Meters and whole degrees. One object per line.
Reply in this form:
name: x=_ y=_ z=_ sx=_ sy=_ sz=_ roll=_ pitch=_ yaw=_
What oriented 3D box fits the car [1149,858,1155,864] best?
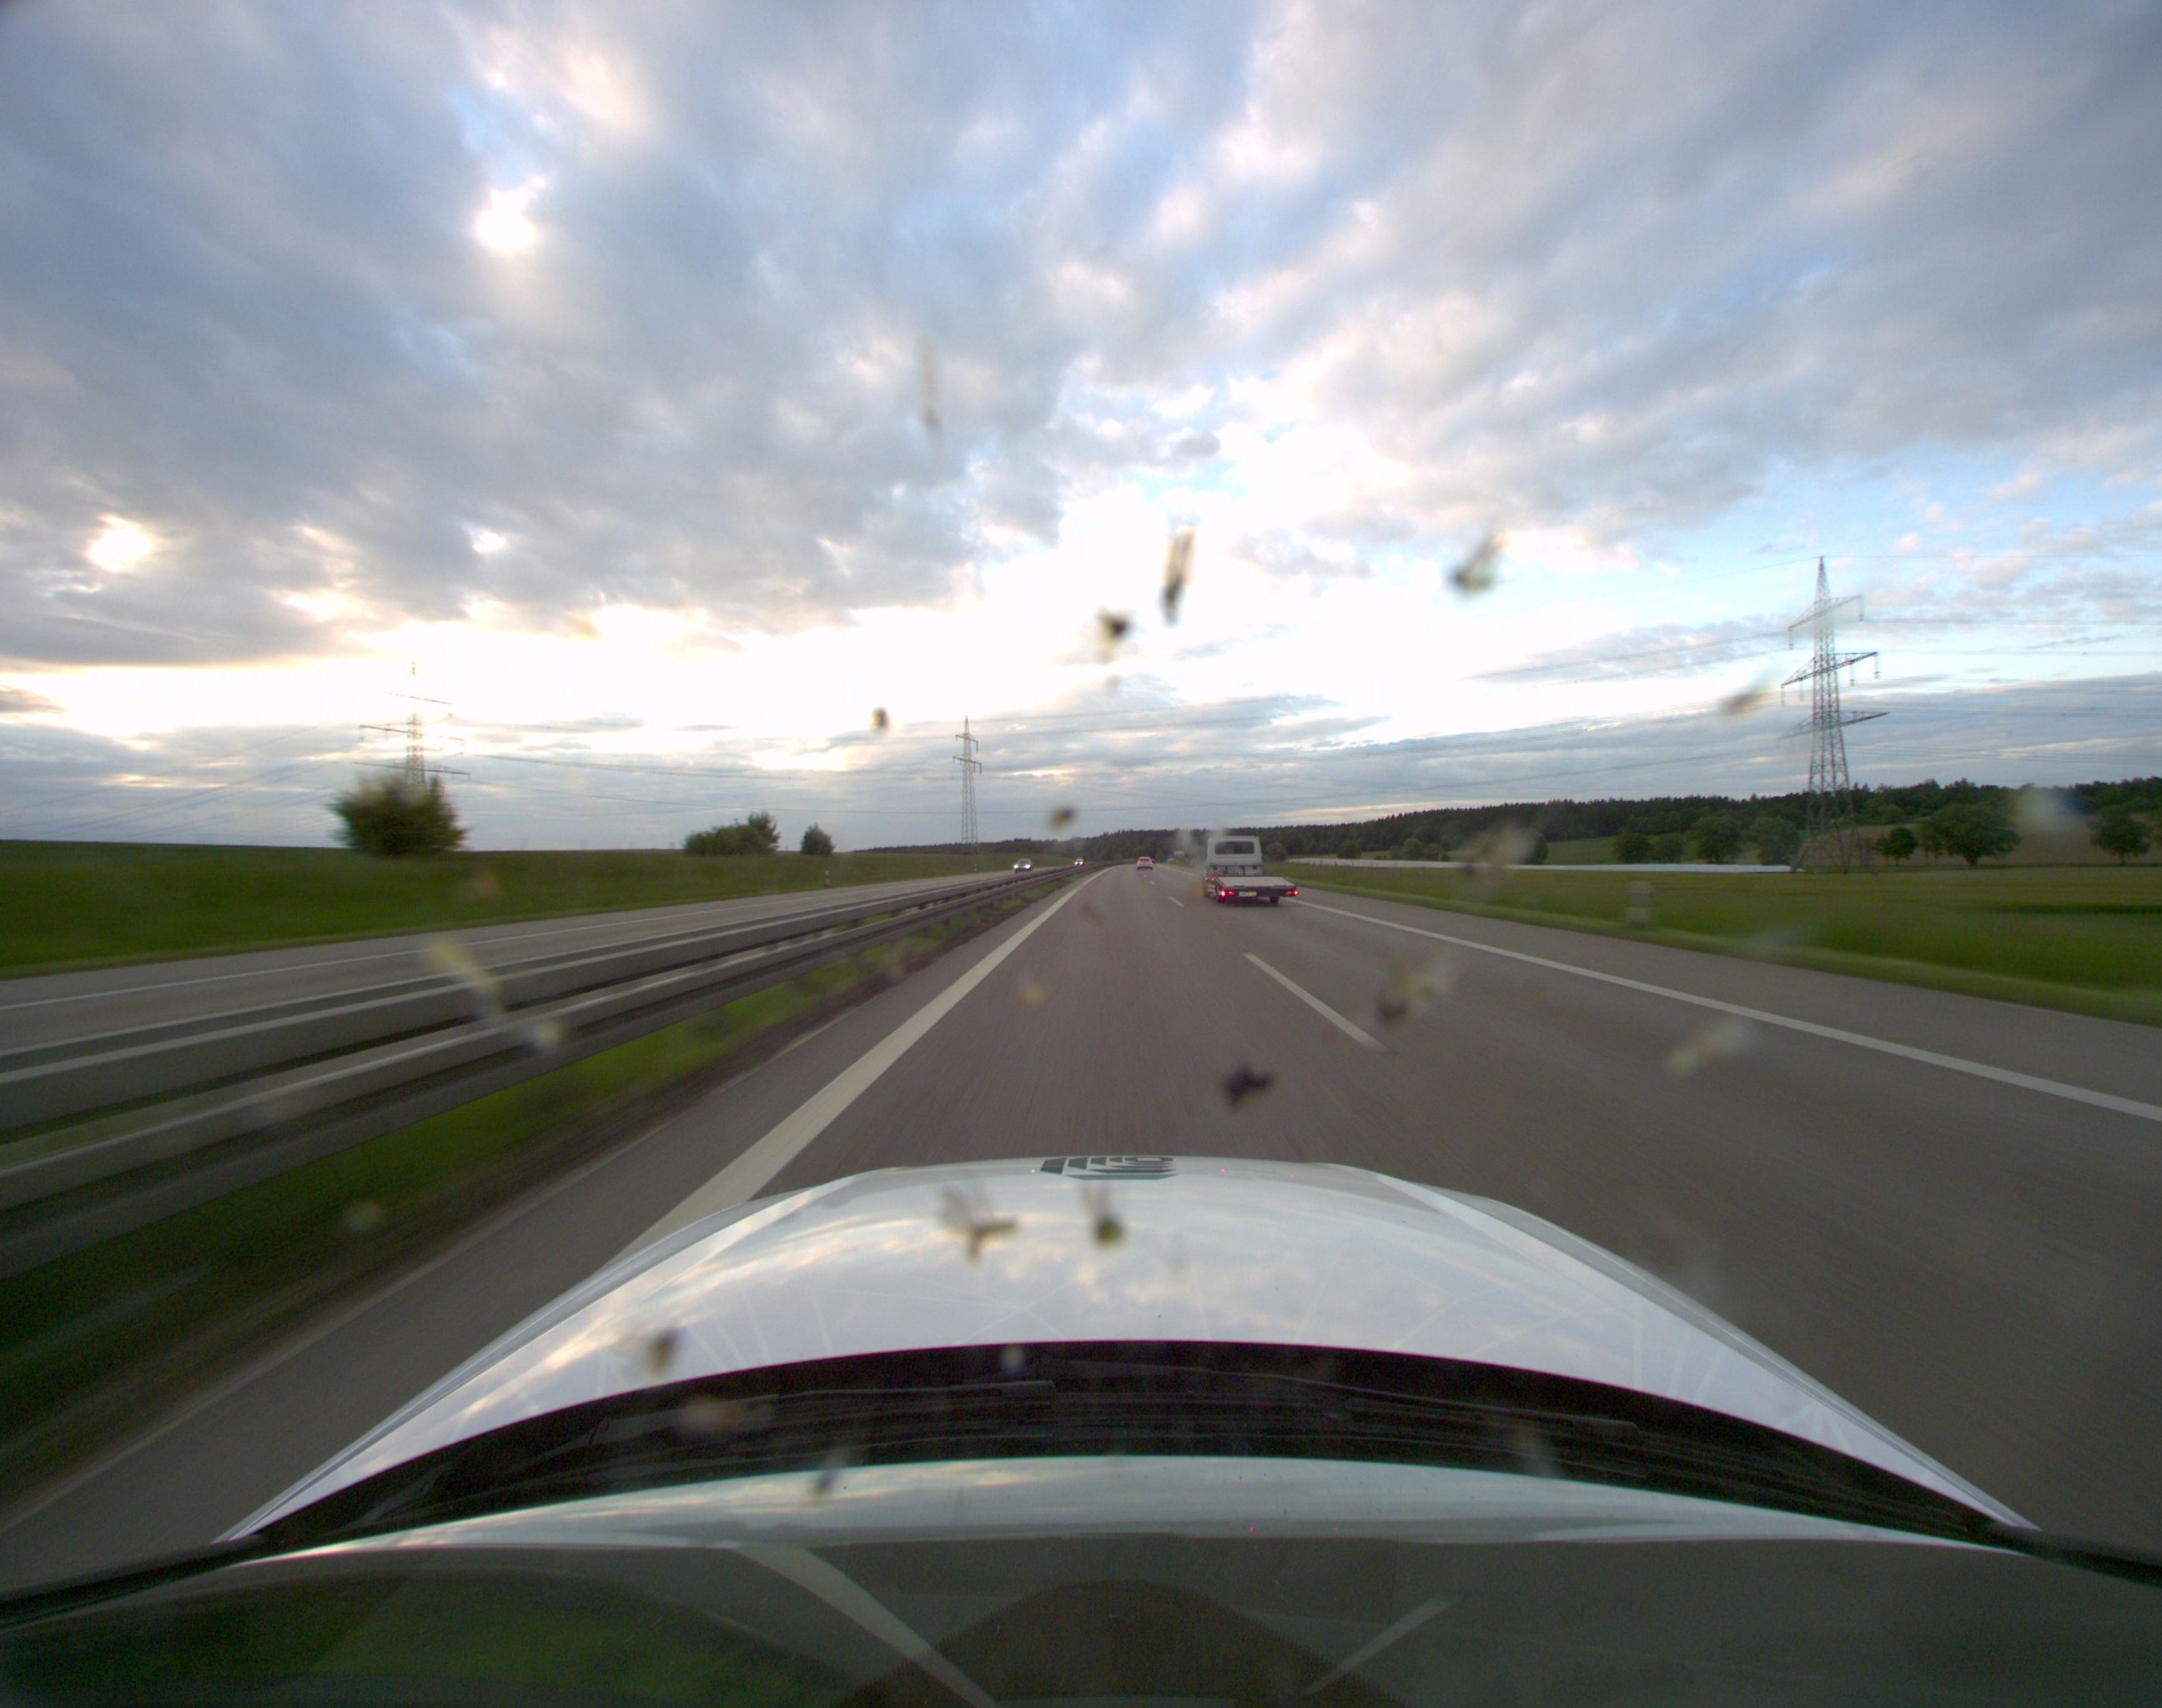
car: x=22.483 y=2.239 z=257.573 sx=1.942 sy=1.731 sz=4.086 roll=0 pitch=0 yaw=5

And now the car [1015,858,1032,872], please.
car: x=-7.120 y=1.369 z=101.432 sx=1.691 sy=1.664 sz=4.464 roll=0 pitch=0 yaw=1

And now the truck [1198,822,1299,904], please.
truck: x=5.391 y=0.268 z=27.374 sx=2.163 sy=2.360 sz=7.702 roll=0 pitch=0 yaw=3

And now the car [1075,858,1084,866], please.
car: x=-0.386 y=1.822 z=194.155 sx=1.753 sy=1.802 sz=4.999 roll=-2 pitch=0 yaw=3

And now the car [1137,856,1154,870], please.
car: x=7.525 y=1.047 z=95.518 sx=1.943 sy=1.531 sz=4.084 roll=0 pitch=0 yaw=4
